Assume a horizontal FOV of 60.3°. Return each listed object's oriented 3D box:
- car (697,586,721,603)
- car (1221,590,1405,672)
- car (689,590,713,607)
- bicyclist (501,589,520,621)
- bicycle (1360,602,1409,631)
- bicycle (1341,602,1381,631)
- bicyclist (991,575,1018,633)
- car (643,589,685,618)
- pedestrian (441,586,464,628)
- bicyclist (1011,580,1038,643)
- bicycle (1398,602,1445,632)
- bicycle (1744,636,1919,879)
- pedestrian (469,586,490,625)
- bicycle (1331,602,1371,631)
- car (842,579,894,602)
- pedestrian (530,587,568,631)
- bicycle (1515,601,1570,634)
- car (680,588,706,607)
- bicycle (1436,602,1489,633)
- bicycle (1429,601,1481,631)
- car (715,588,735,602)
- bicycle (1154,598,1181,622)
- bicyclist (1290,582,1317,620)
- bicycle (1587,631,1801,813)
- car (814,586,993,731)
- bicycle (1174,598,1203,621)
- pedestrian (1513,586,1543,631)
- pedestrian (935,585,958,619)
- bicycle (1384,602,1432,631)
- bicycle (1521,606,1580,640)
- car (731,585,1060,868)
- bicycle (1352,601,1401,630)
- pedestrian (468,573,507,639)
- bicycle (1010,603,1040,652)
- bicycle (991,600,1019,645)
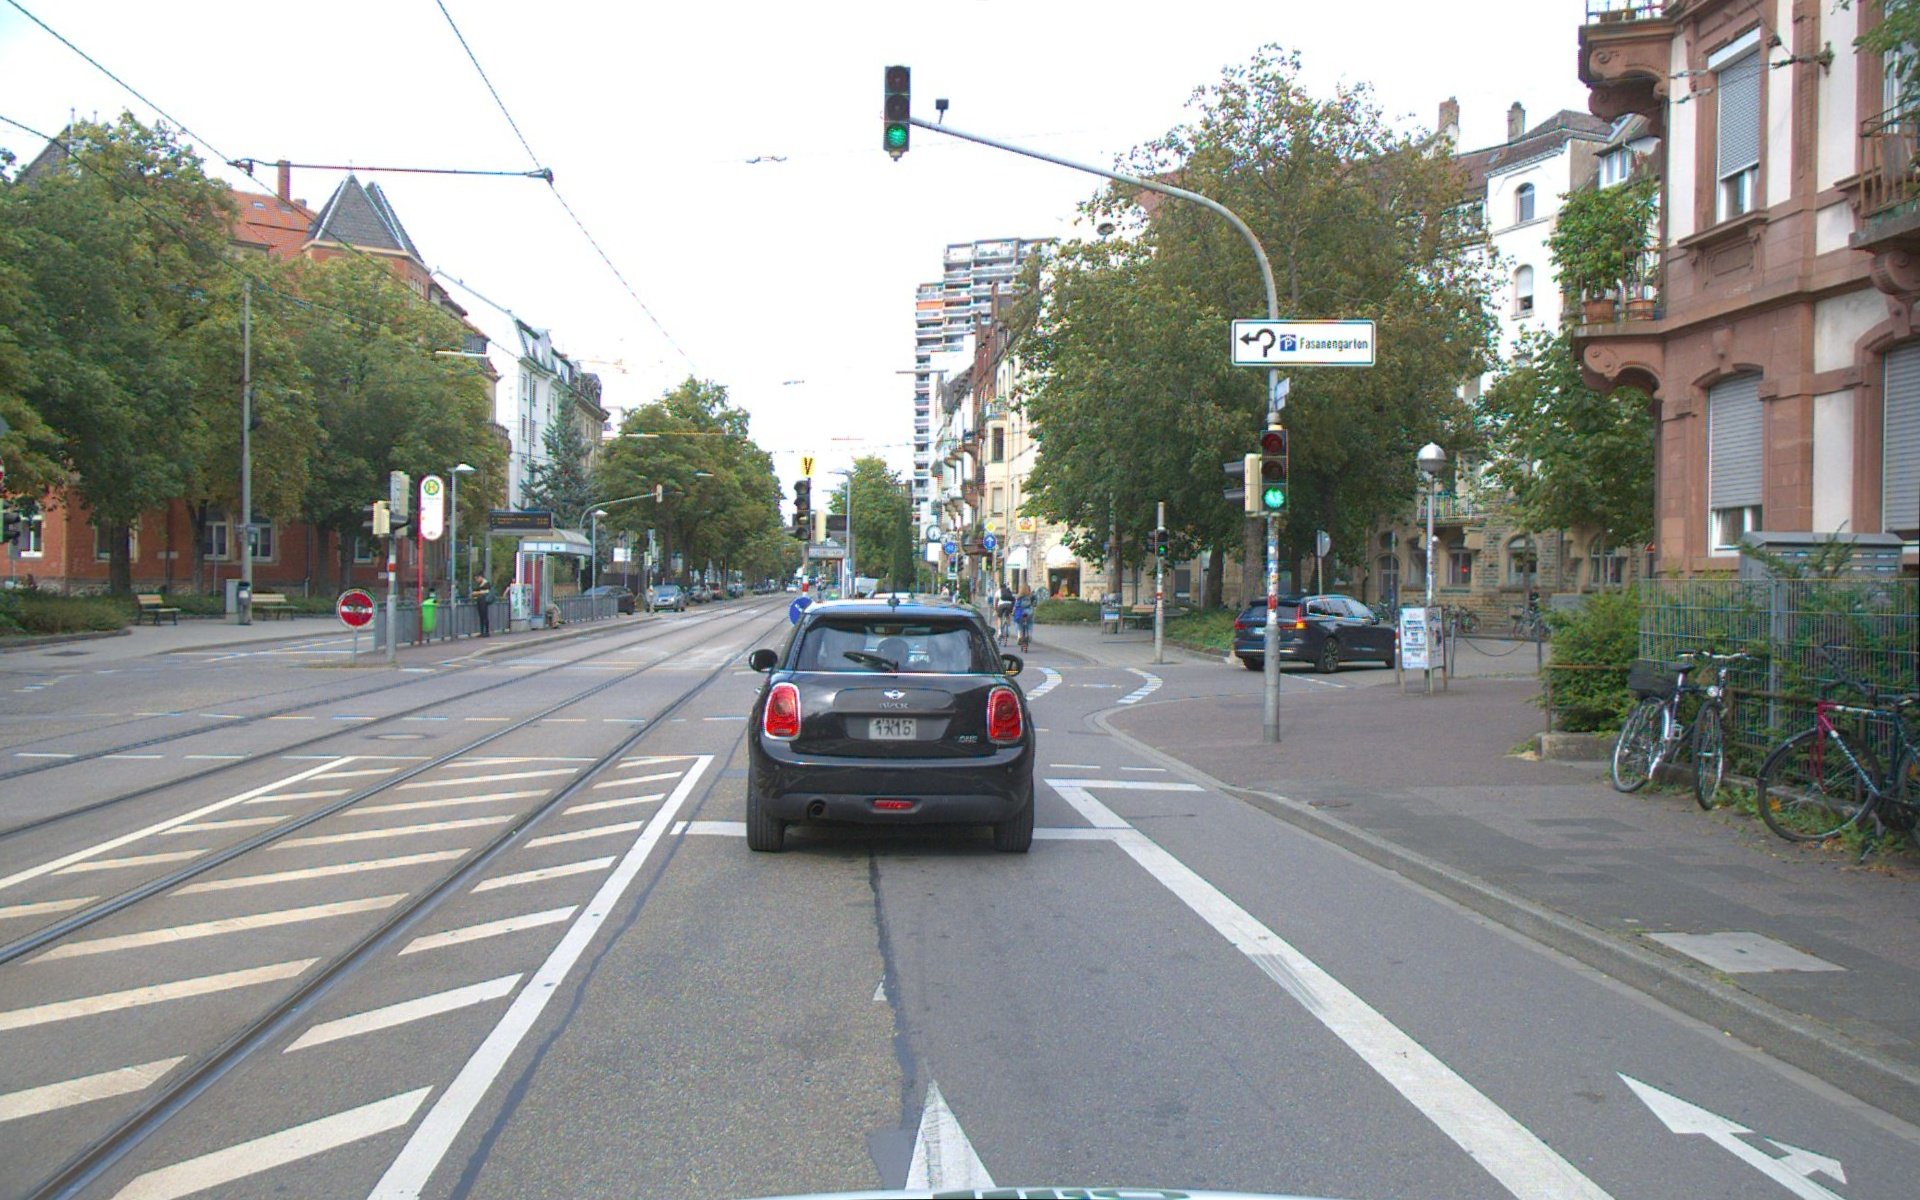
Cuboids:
[{"bbox_3d":[-24.036,-0.522,158.590,1.954,1.579,3.997,0,0,-4],"label":"car"},{"bbox_3d":[6.960,0.558,32.304,1.724,1.466,4.458,1,0,39],"label":"car"},{"bbox_3d":[-21.864,-0.155,139.673,1.732,1.420,3.996,0,0,-5],"label":"car"},{"bbox_3d":[-19.308,0.206,71.057,0.647,1.363,0.835,0,0,-4],"label":"bicyclist"},{"bbox_3d":[17.052,0.643,66.436,1.855,1.147,0.597,0,0,-13],"label":"bicycle"},{"bbox_3d":[16.417,0.668,67.687,1.872,1.147,0.526,-1,1,-36],"label":"bicycle"},{"bbox_3d":[1.235,0.107,45.816,0.670,1.591,0.998,0,0,-2],"label":"bicyclist"},{"bbox_3d":[-16.280,0.167,91.079,1.717,1.466,3.998,2,0,-3],"label":"car"},{"bbox_3d":[-21.161,0.292,69.015,0.817,1.732,0.731,0,0,-10],"label":"pedestrian"},{"bbox_3d":[1.633,0.281,42.138,0.583,1.577,1.013,0,0,-4],"label":"bicyclist"},{"bbox_3d":[18.065,0.666,64.690,1.865,1.147,0.589,0,0,-28],"label":"bicycle"},{"bbox_3d":[4.837,0.780,8.763,0.498,1.107,1.549,-3,1,-4],"label":"bicycle"},{"bbox_3d":[-21.194,0.239,72.979,0.817,1.732,0.731,0,0,-10],"label":"pedestrian"},{"bbox_3d":[16.128,0.669,68.150,1.872,1.147,0.526,-1,1,-36],"label":"bicycle"},{"bbox_3d":[-9.173,-0.958,165.355,2.357,2.312,5.003,1,0,45],"label":"car"},{"bbox_3d":[-12.446,0.263,50.081,1.039,1.316,0.984,0,0,-10],"label":"pedestrian"},{"bbox_3d":[20.484,0.626,58.151,1.857,1.147,0.530,0,0,-16],"label":"bicycle"},{"bbox_3d":[-21.311,-0.210,132.025,1.732,1.420,3.996,0,0,-5],"label":"car"},{"bbox_3d":[18.957,0.662,62.371,1.852,1.147,0.532,0,0,-8],"label":"bicycle"},{"bbox_3d":[18.834,0.615,62.948,1.852,1.147,0.532,0,0,-8],"label":"bicycle"},{"bbox_3d":[-25.784,-0.569,181.474,1.954,1.579,3.997,0,0,-4],"label":"car"},{"bbox_3d":[9.417,0.456,75.146,0.441,1.073,1.642,0,0,37],"label":"bicycle"},{"bbox_3d":[13.600,0.035,65.449,0.609,1.498,0.904,0,0,-34],"label":"bicyclist"},{"bbox_3d":[5.054,0.802,11.509,0.658,1.125,1.671,0,1,-4],"label":"bicycle"},{"bbox_3d":[-0.688,0.612,19.568,1.888,1.536,3.998,0,0,-3],"label":"car"},{"bbox_3d":[10.278,0.414,74.372,0.522,0.989,1.642,0,0,37],"label":"bicycle"},{"bbox_3d":[21.409,0.316,62.342,0.717,1.705,0.833,0,0,-11],"label":"pedestrian"},{"bbox_3d":[-0.694,0.093,85.520,0.720,1.703,0.830,-2,1,42],"label":"pedestrian"},{"bbox_3d":[17.715,0.657,65.423,1.861,1.147,0.579,0,0,-22],"label":"bicycle"},{"bbox_3d":[20.438,0.783,57.242,1.848,1.147,0.533,0,0,1],"label":"bicycle"},{"bbox_3d":[-0.431,0.671,10.903,1.717,1.466,3.998,2,0,-3],"label":"car"},{"bbox_3d":[16.871,0.639,67.009,1.855,1.147,0.561,0,0,-13],"label":"bicycle"},{"bbox_3d":[-12.023,0.150,42.121,0.836,1.649,0.841,0,0,-10],"label":"pedestrian"},{"bbox_3d":[1.640,0.681,42.143,0.586,1.190,1.695,0,0,-4],"label":"bicycle"},{"bbox_3d":[1.232,0.608,45.790,0.670,1.190,1.696,0,0,-2],"label":"bicycle"}]
